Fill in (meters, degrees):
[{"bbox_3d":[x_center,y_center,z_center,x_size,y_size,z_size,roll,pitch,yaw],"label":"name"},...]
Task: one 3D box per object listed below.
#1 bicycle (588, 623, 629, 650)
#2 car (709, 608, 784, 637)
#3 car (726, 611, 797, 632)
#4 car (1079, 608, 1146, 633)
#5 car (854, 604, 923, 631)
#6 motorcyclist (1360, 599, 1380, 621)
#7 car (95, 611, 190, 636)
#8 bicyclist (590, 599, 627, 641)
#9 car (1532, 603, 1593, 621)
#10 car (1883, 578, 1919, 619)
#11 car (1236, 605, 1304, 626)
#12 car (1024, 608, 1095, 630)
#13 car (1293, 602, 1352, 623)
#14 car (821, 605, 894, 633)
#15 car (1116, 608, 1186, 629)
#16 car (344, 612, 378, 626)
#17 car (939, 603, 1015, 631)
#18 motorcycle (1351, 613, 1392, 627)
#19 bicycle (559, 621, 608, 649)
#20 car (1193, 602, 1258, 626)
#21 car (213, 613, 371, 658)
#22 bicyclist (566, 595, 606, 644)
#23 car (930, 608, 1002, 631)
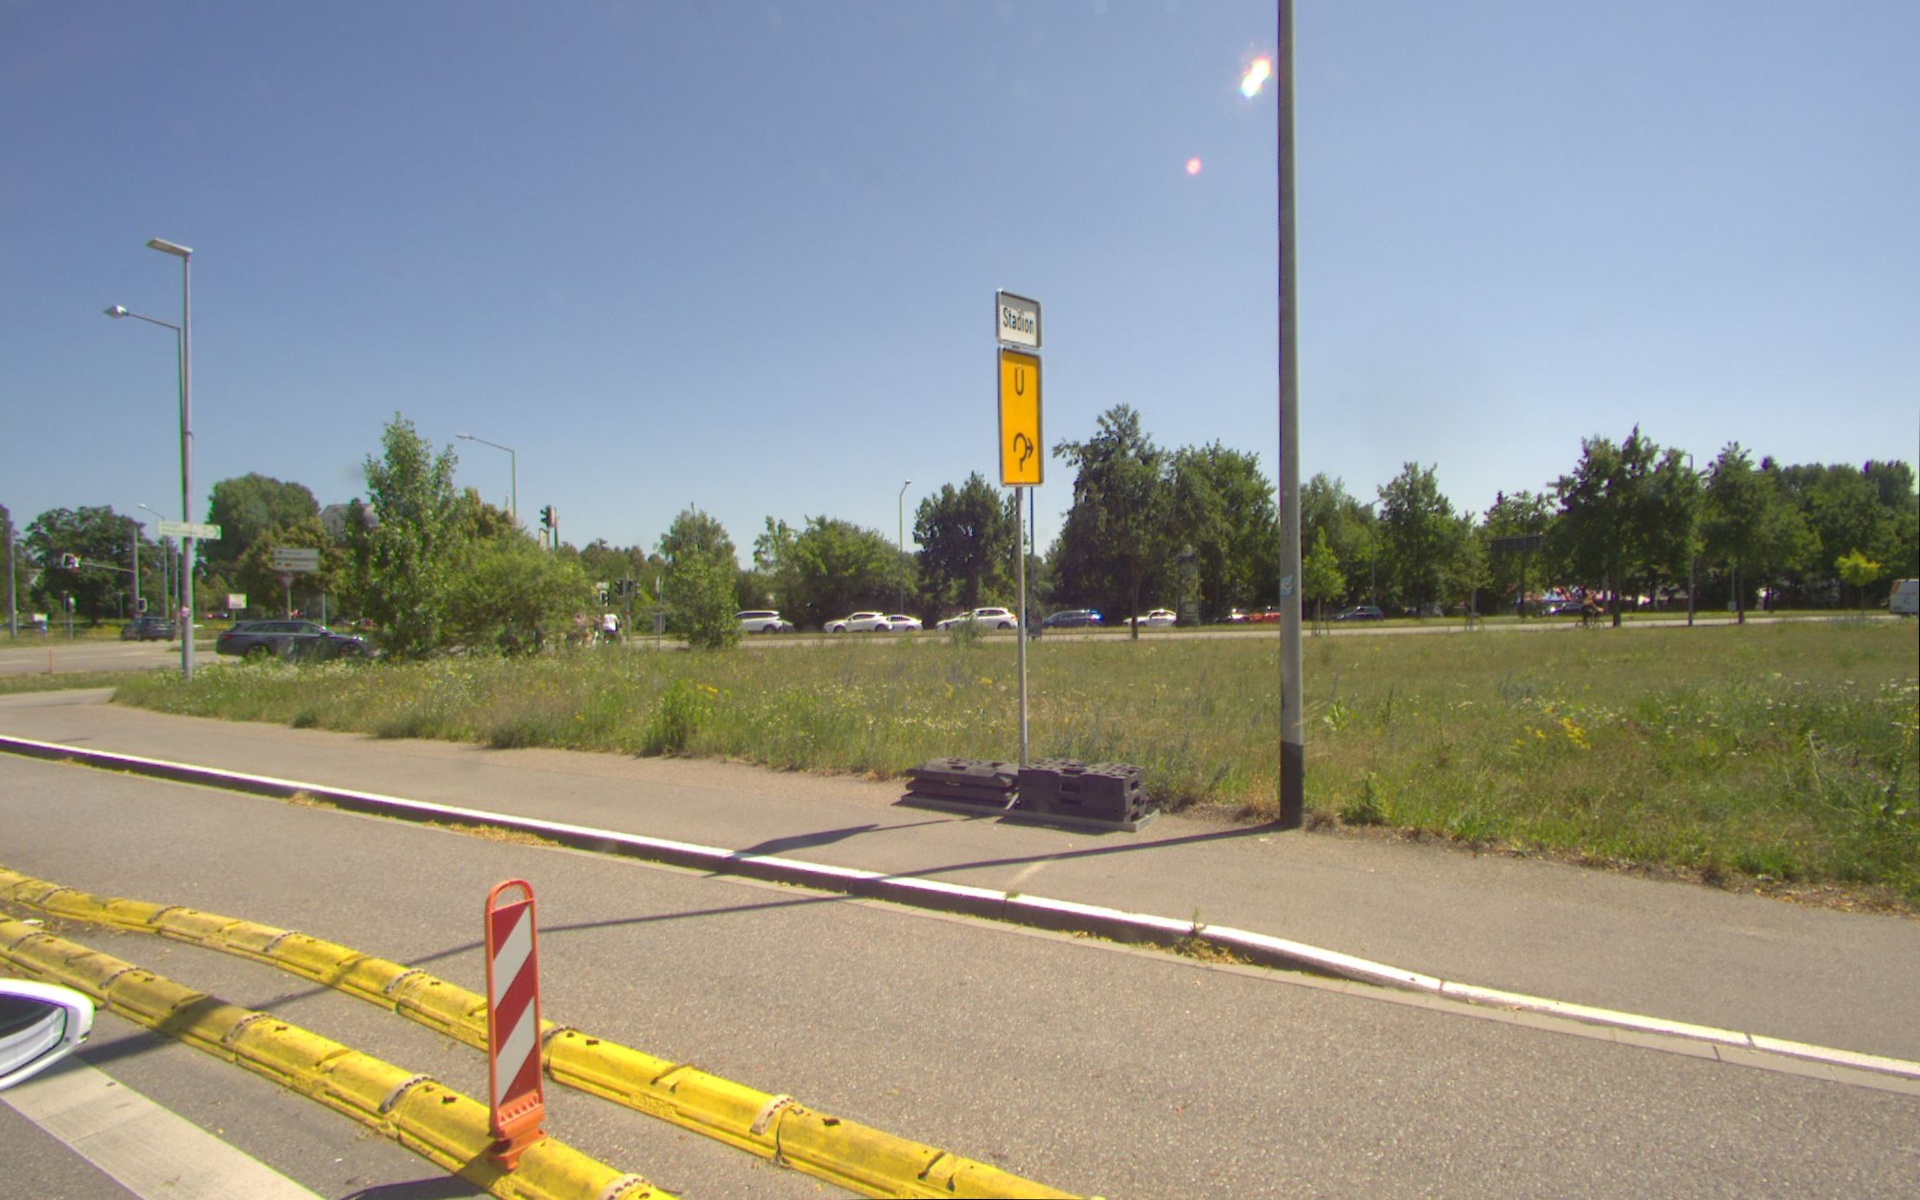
[{"bbox_3d":[-13.480,1.386,38.465,0.881,0.912,1.762,1,1,4],"label":"bicycle"},{"bbox_3d":[-12.897,1.338,60.458,4.329,1.639,1.861,0,0,-16],"label":"car"},{"bbox_3d":[-12.654,1.355,63.907,4.329,1.287,1.861,0,0,-16],"label":"car"},{"bbox_3d":[10.772,1.457,70.849,4.329,1.705,1.861,0,0,-16],"label":"car"},{"bbox_3d":[-4.734,1.160,66.227,4.329,1.705,1.861,0,0,-16],"label":"car"},{"bbox_3d":[29.780,0.724,72.785,0.992,1.606,0.908,0,-1,-14],"label":"motorcyclist"},{"bbox_3d":[-47.931,1.391,58.767,3.922,1.482,2.001,0,-2,1],"label":"car"},{"bbox_3d":[-13.472,0.760,38.390,0.941,1.552,1.185,0,1,3],"label":"bicyclist"},{"bbox_3d":[49.187,0.939,81.738,4.329,1.441,1.861,0,0,-16],"label":"car"},{"bbox_3d":[64.720,-0.079,66.431,6.281,2.623,2.260,0,-2,-17],"label":"car"},{"bbox_3d":[22.050,1.103,71.191,4.329,1.441,1.861,0,0,-16],"label":"car"},{"bbox_3d":[6.616,1.252,66.499,4.329,1.441,1.861,0,0,-16],"label":"car"},{"bbox_3d":[26.211,0.906,72.393,3.730,1.493,1.718,0,-2,-17],"label":"car"},{"bbox_3d":[-6.442,1.145,62.805,4.329,1.705,1.861,0,0,-16],"label":"car"},{"bbox_3d":[13.047,1.255,68.369,4.329,1.441,1.861,0,0,-16],"label":"car"},{"bbox_3d":[-88.504,2.836,148.008,3.931,2.039,1.996,1,-2,-19],"label":"car"},{"bbox_3d":[1.020,1.037,61.698,4.329,1.705,1.861,0,0,-16],"label":"car"},{"bbox_3d":[29.917,1.445,72.820,2.764,0.964,0.897,0,-2,-13],"label":"motorcycle"},{"bbox_3d":[-12.851,1.180,34.261,0.881,0.912,2.227,1,-1,-2],"label":"bicycle"},{"bbox_3d":[19.494,1.025,73.545,4.329,1.705,1.861,0,0,-16],"label":"car"},{"bbox_3d":[-23.278,1.195,34.972,4.405,1.437,1.983,0,0,-40],"label":"car"},{"bbox_3d":[-12.799,0.673,34.324,0.941,1.630,1.186,0,-1,-2],"label":"bicyclist"},{"bbox_3d":[0.391,1.230,64.735,4.329,1.441,1.861,0,0,-16],"label":"car"}]
